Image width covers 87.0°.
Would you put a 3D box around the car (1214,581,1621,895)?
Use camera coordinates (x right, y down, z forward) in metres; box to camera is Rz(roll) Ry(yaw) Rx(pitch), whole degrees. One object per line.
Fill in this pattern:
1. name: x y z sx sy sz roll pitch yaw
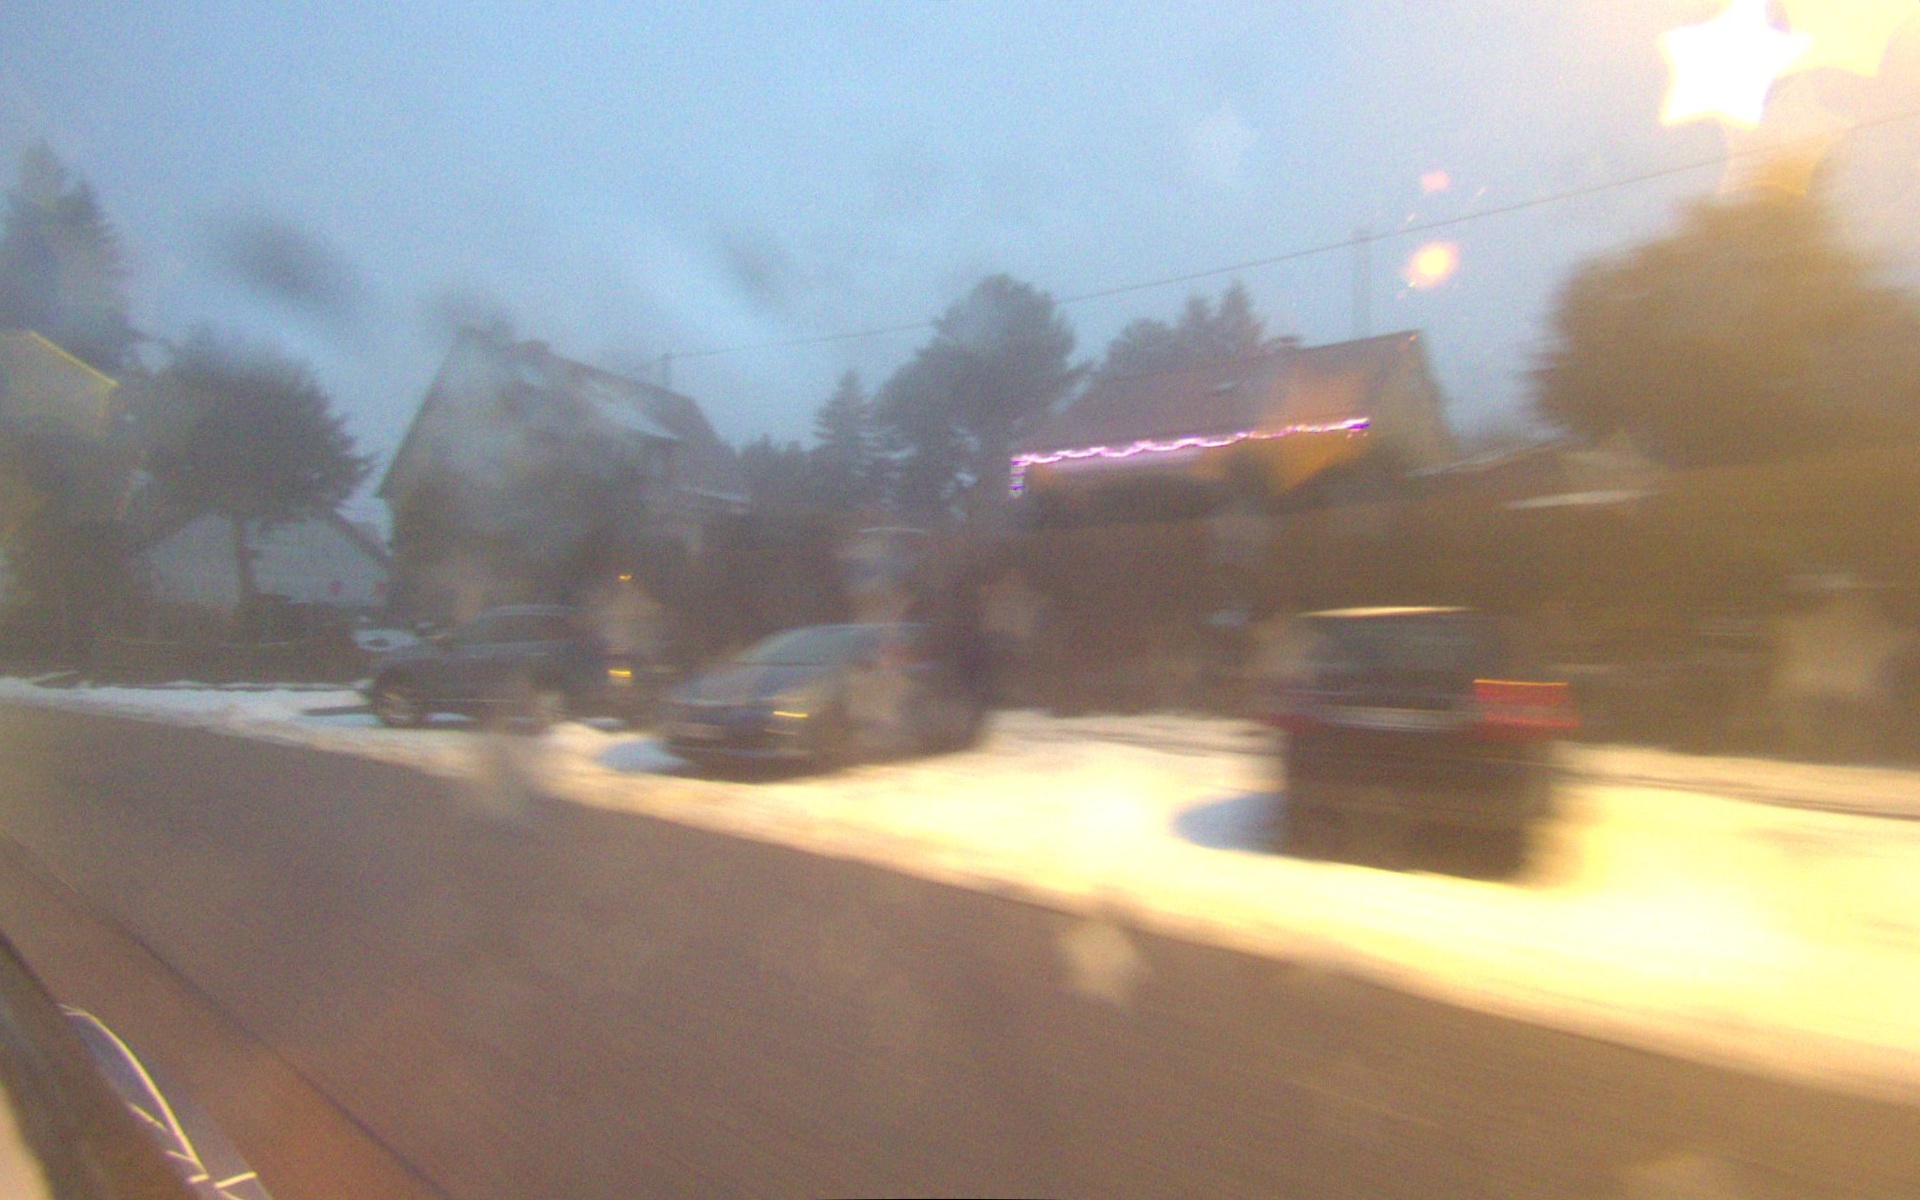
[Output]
1. car: 3.340 0.749 6.943 1.934 1.483 3.822 -1 -3 34

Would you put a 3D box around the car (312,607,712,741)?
1. car: -6.047 0.941 13.709 4.960 1.578 1.986 0 -4 21

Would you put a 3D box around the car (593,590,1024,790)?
1. car: -1.261 0.820 10.503 2.102 1.578 4.496 -1 -3 30
